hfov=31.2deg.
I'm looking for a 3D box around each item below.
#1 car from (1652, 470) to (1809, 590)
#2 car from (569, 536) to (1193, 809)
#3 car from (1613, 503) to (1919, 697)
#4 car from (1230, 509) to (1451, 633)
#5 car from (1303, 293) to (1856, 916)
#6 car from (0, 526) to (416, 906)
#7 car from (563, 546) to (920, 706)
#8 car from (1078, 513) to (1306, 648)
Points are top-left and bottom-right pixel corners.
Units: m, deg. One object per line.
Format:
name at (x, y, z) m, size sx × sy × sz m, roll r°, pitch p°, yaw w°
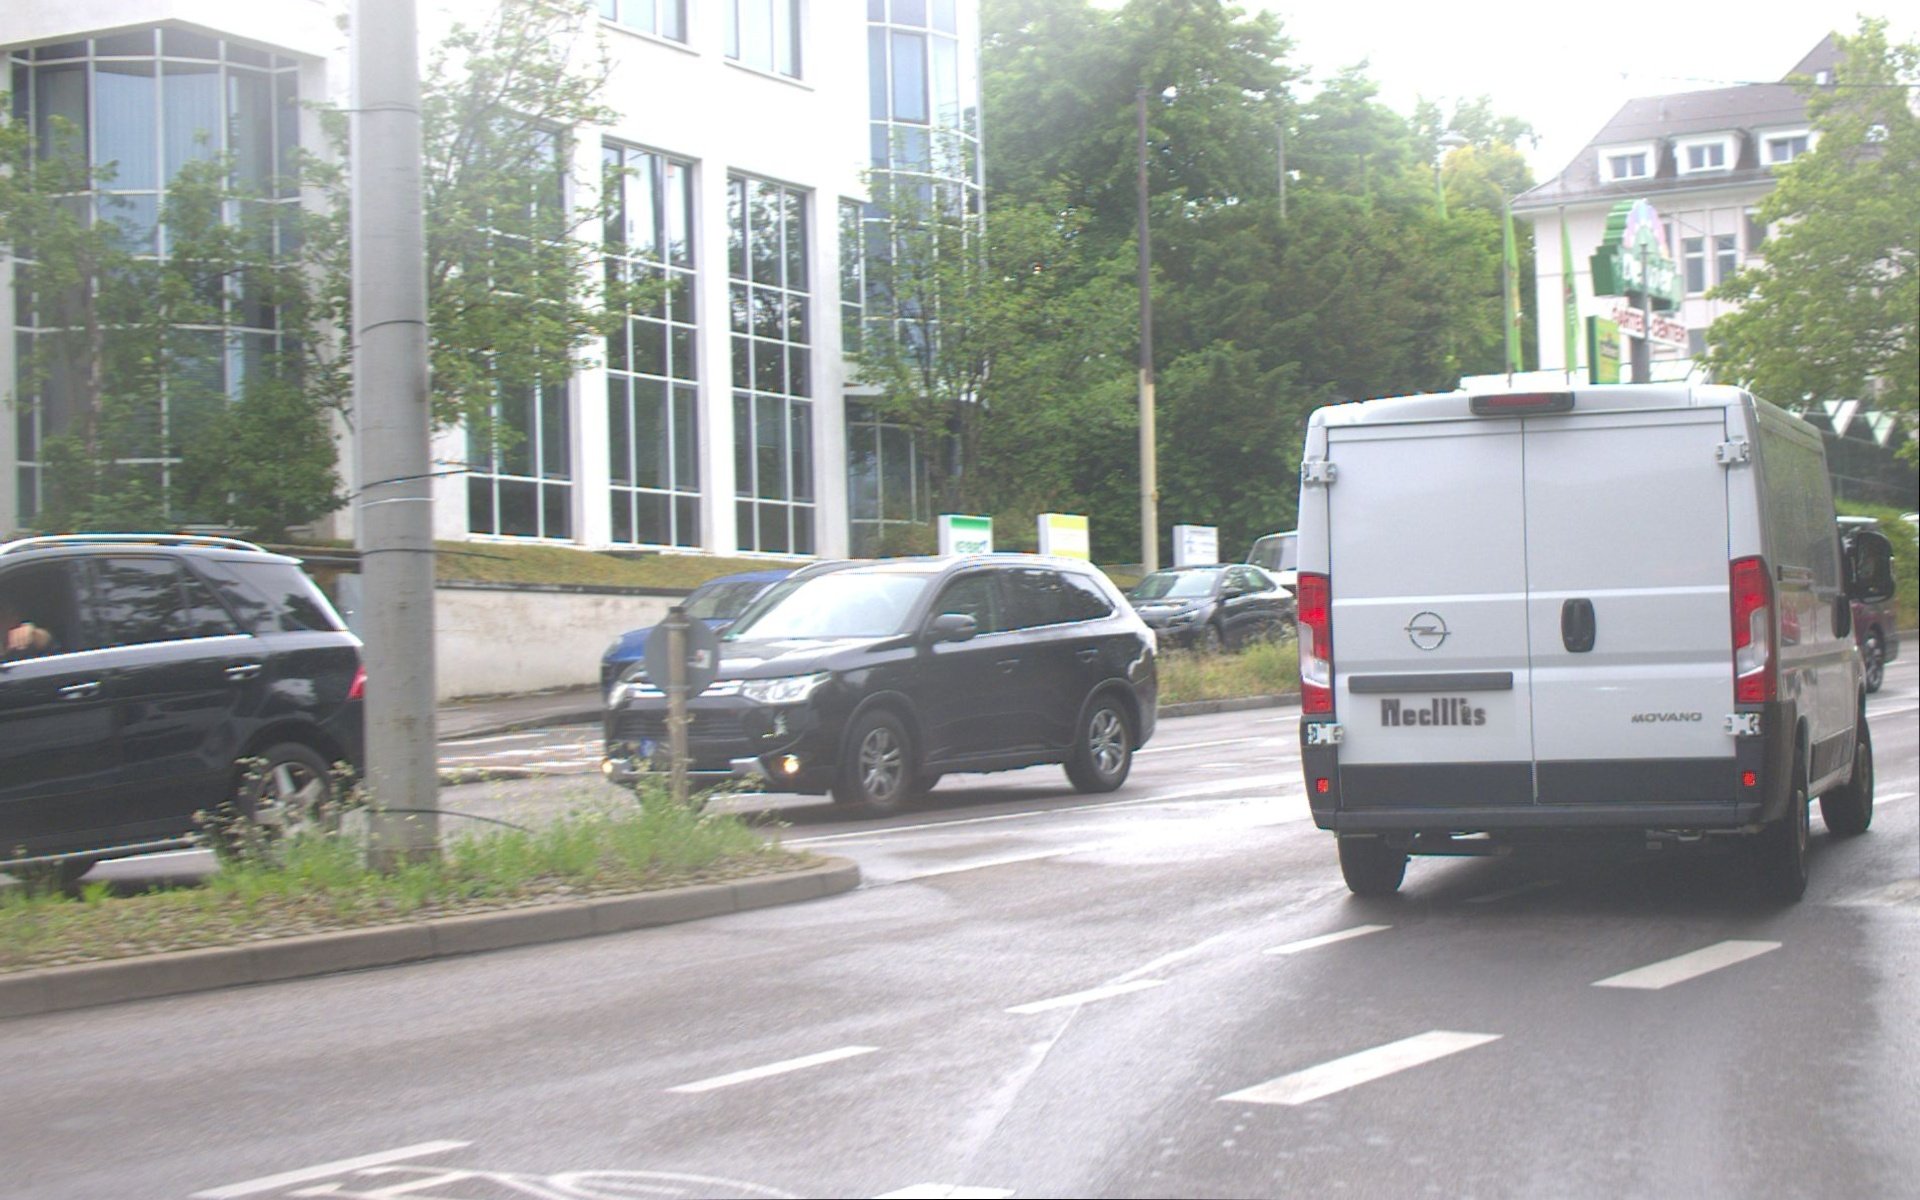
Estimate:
car at (17.156, -1.590, 76.382) m, size 1.965 × 2.435 × 5.648 m, roll -3°, pitch 1°, yaw 27°
car at (-0.388, 0.478, 22.626) m, size 1.691 × 1.599 × 4.719 m, roll -3°, pitch -2°, yaw 33°
car at (8.861, -0.045, 36.575) m, size 2.018 × 1.860 × 5.033 m, roll -3°, pitch 0°, yaw 32°
car at (6.113, -0.487, 54.718) m, size 1.773 × 1.740 × 4.577 m, roll -3°, pitch 1°, yaw 29°
car at (3.140, -0.013, 16.498) m, size 2.052 × 2.508 × 4.939 m, roll 0°, pitch 1°, yaw 17°
car at (-4.898, 0.548, 16.280) m, size 1.958 × 1.691 × 4.617 m, roll -3°, pitch 0°, yaw 33°
car at (-2.386, 0.261, 38.883) m, size 1.691 × 1.529 × 4.665 m, roll -3°, pitch 1°, yaw 29°
car at (3.358, -0.305, 49.021) m, size 1.613 × 1.716 × 3.987 m, roll -3°, pitch 1°, yaw 29°
